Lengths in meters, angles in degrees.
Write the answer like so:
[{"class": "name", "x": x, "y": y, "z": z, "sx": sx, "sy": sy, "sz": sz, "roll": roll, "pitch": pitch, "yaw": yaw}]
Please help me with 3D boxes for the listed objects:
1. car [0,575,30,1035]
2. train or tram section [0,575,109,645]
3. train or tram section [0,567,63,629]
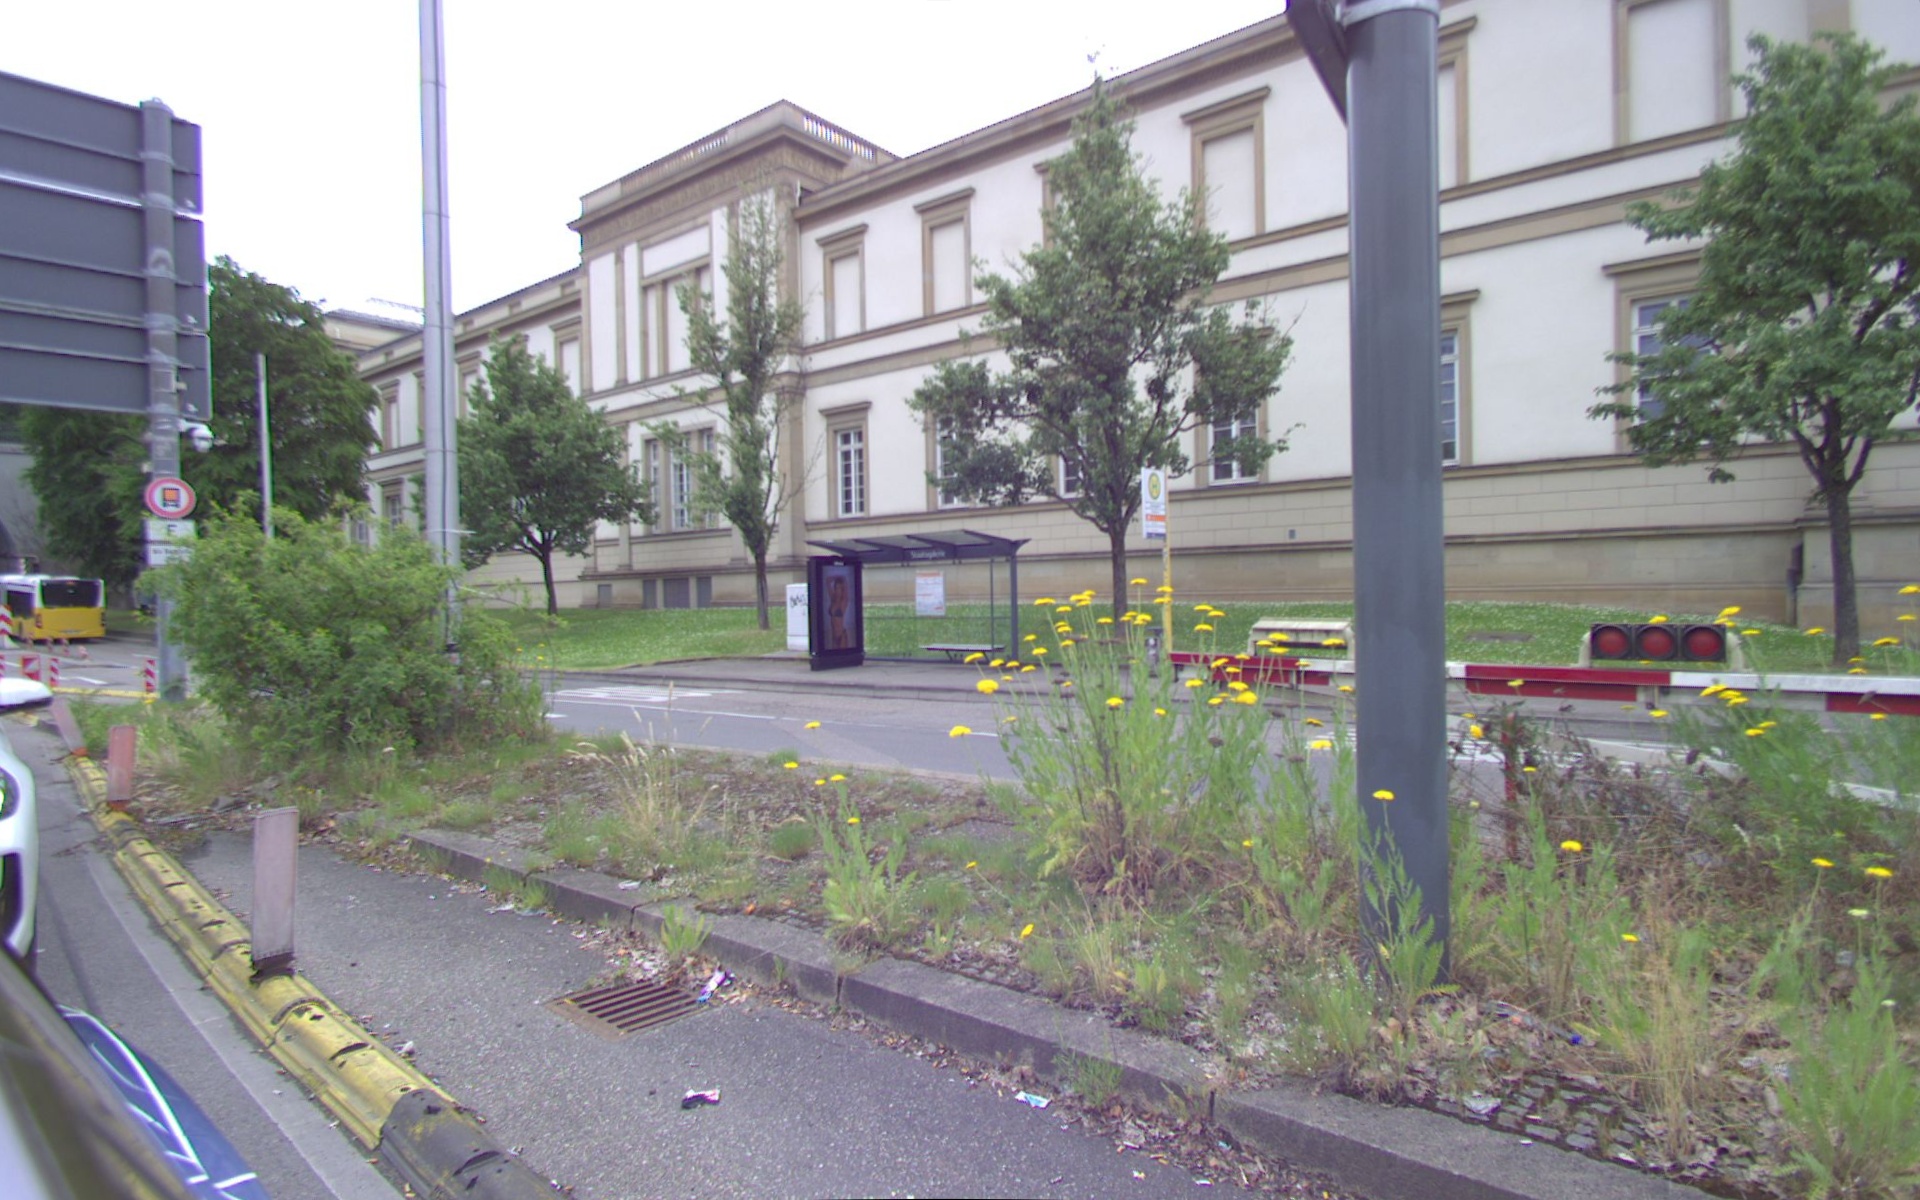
[{"class": "car", "x": -5.240, "y": 0.724, "z": 4.204, "sx": 3.911, "sy": 1.568, "sz": 1.733, "roll": -1, "pitch": 0, "yaw": 43}, {"class": "train or tram section", "x": -43.977, "y": 0.537, "z": 48.780, "sx": 9.324, "sy": 3.094, "sz": 2.668, "roll": -1, "pitch": -2, "yaw": 38}, {"class": "train or tram section", "x": -51.253, "y": 0.006, "z": 54.655, "sx": 9.366, "sy": 3.094, "sz": 2.667, "roll": -1, "pitch": -2, "yaw": 39}]
